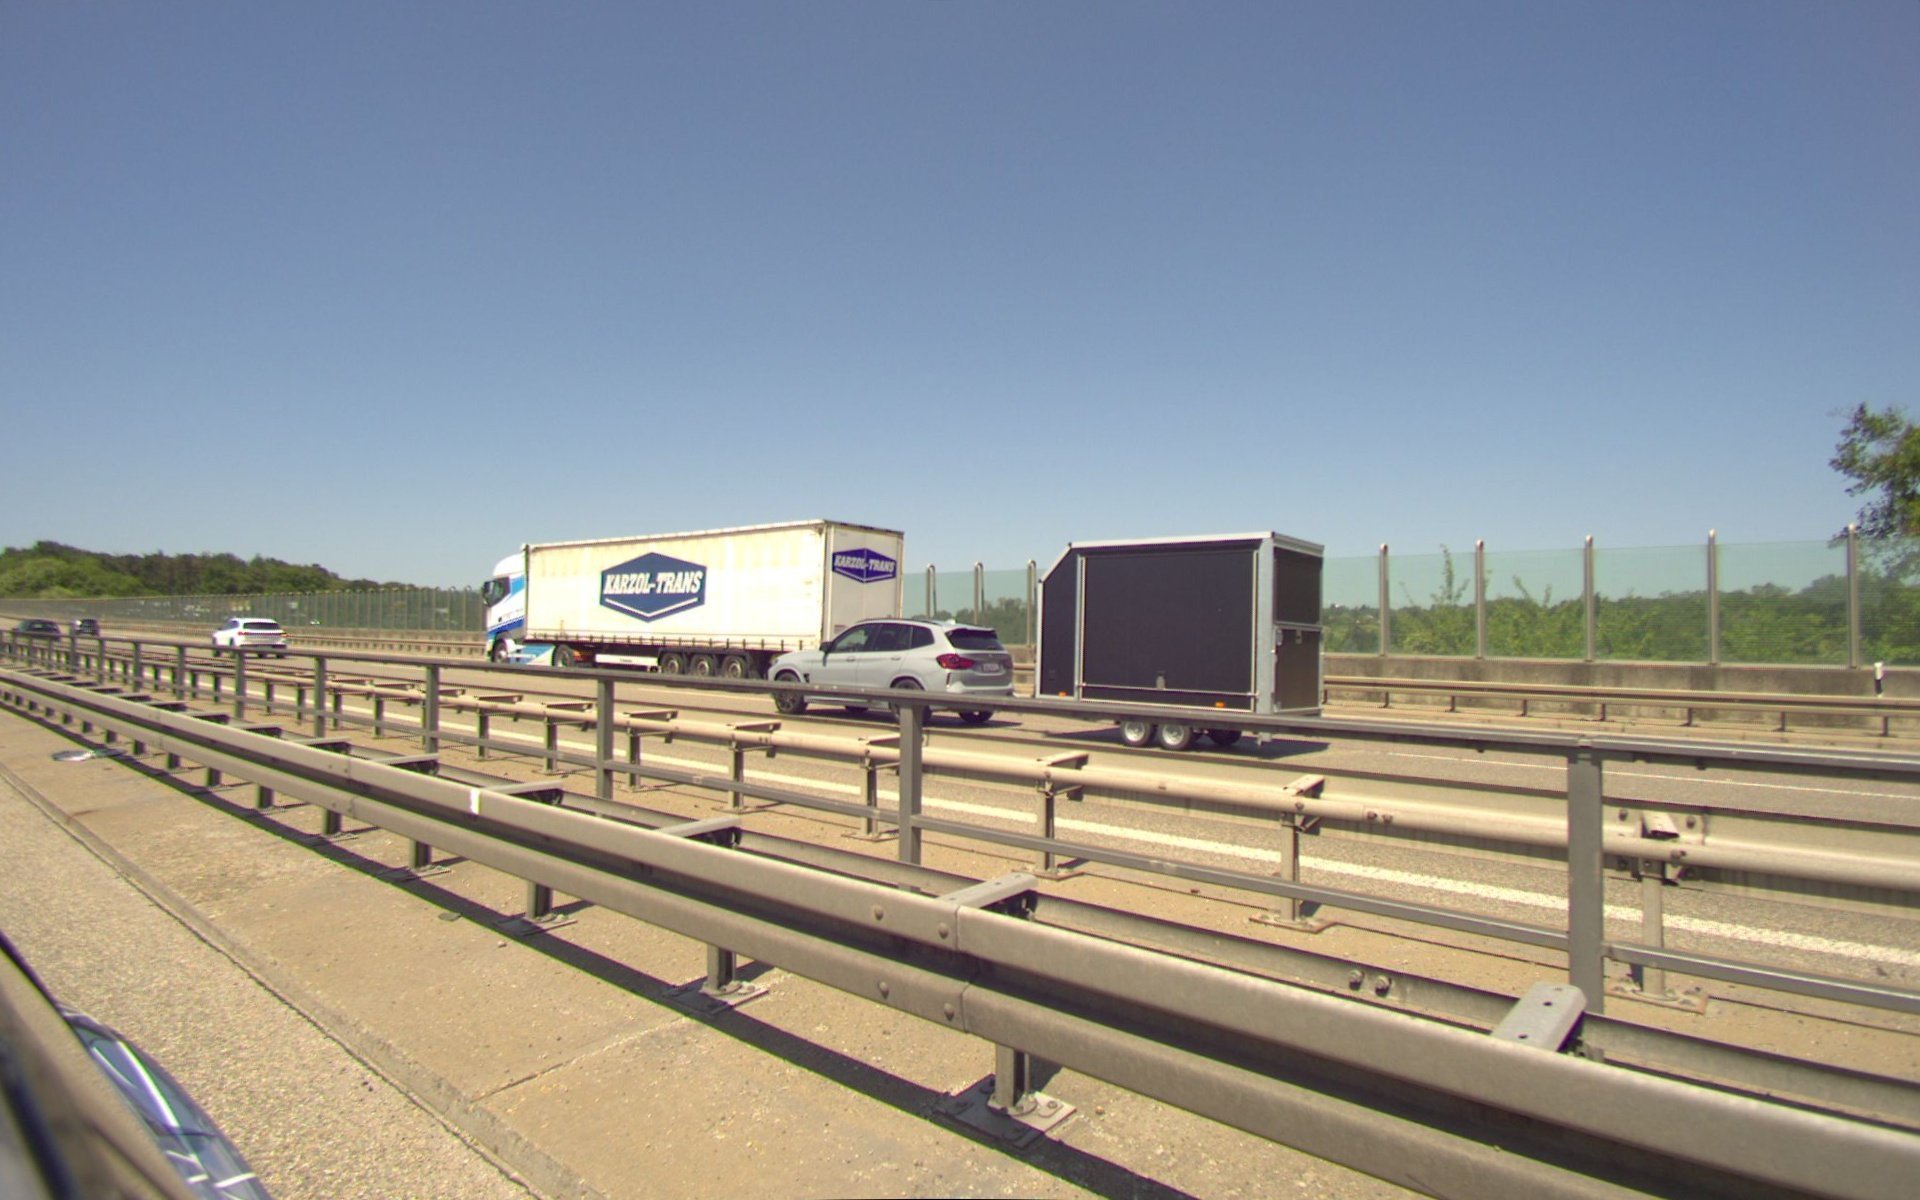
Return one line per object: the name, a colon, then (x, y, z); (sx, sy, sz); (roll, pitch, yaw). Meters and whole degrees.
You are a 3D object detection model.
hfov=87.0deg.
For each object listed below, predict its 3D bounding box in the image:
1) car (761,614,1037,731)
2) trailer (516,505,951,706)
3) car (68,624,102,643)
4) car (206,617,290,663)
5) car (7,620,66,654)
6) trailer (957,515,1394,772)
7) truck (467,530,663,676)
car: (-1.123, 1.083, 16.841); (4.626, 1.637, 1.851); (0, 0, 41)
trailer: (-6.828, 0.183, 27.582); (14.033, 4.267, 3.947); (0, -2, 41)
car: (-72.766, 2.769, 84.147); (3.540, 1.473, 1.635); (0, -2, 41)
car: (-28.997, 1.593, 41.174); (4.383, 1.709, 1.731); (0, -2, 41)
car: (-47.567, 1.894, 52.101); (3.998, 1.584, 1.773); (0, 1, 41)
trailer: (2.692, 0.500, 13.590); (5.373, 2.798, 2.143); (0, -2, 41)
truck: (-12.762, 0.168, 32.710); (4.855, 4.260, 3.965); (0, -3, 40)
